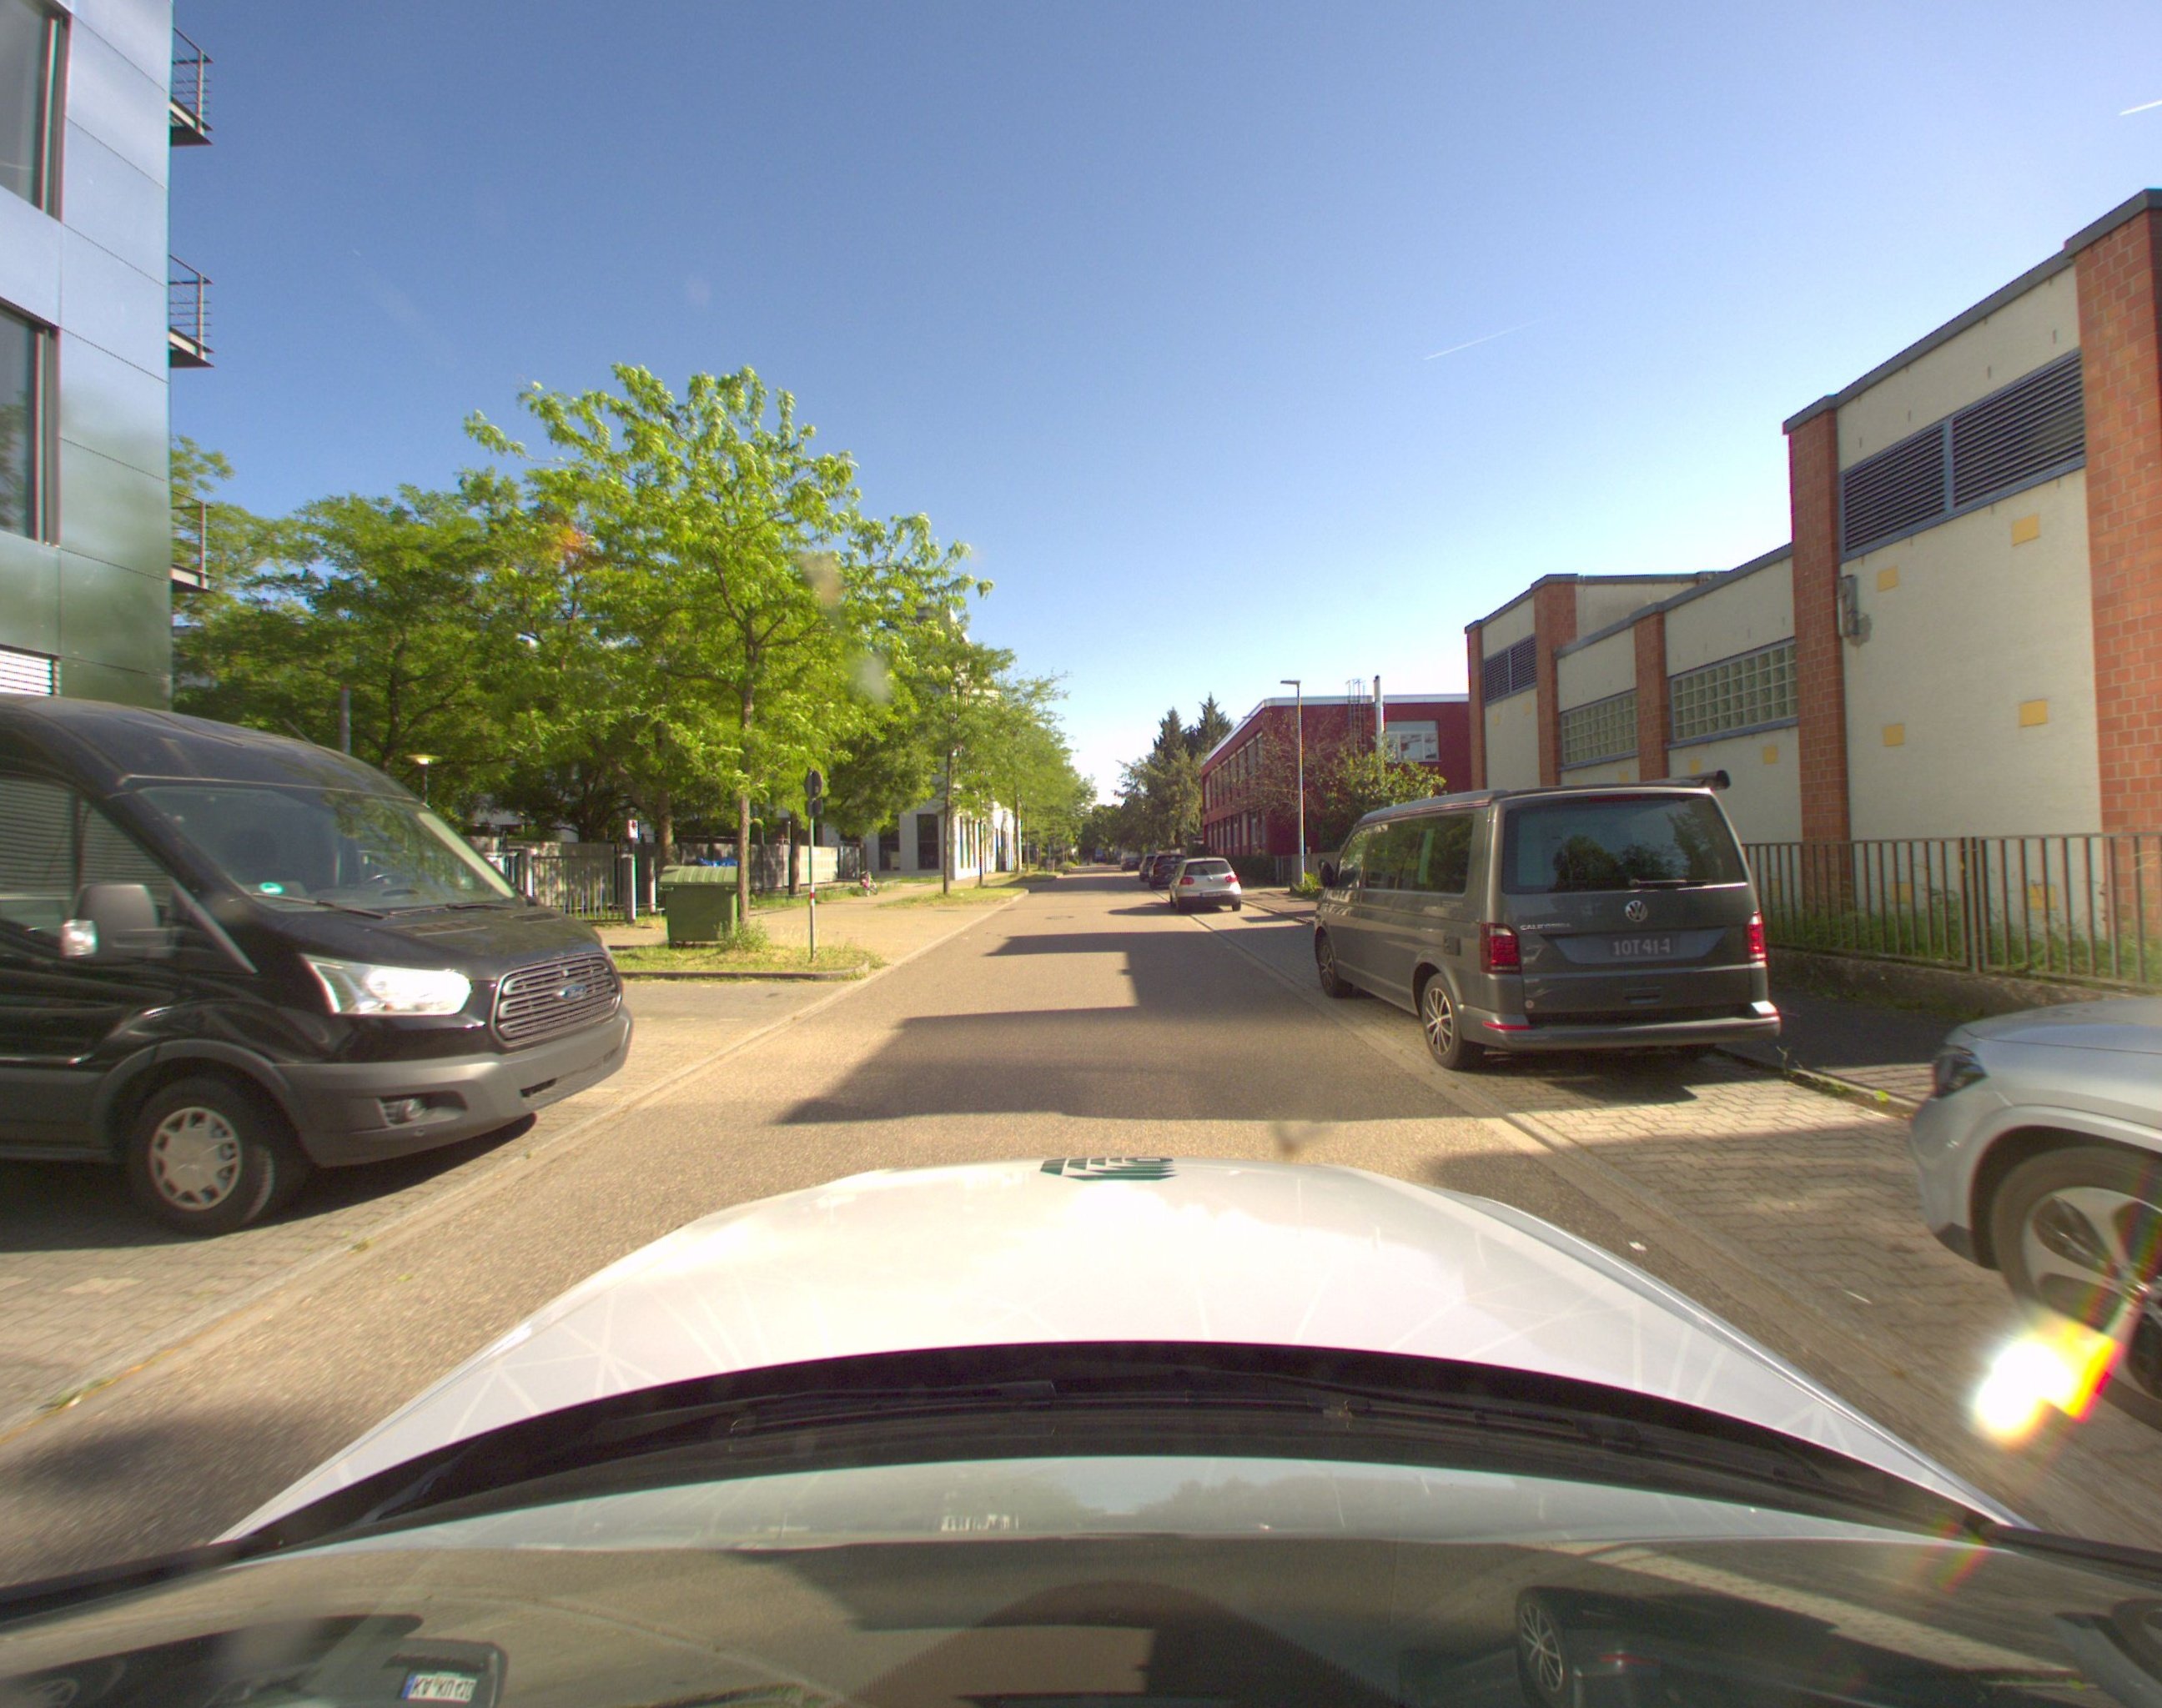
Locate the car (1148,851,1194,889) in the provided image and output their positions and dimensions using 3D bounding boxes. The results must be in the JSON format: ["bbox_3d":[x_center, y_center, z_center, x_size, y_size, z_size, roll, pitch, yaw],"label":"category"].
[{"bbox_3d":[4.130,0.713,37.853,1.831,1.634,4.203,-1,0,2],"label":"car"}]

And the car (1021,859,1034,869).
[{"bbox_3d":[-8.104,1.508,123.743,1.900,1.342,3.791,-1,0,-1],"label":"car"}]

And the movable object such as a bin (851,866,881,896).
[{"bbox_3d":[-8.820,1.096,33.474,0.660,1.181,1.936,-1,0,2],"label":"movable object such as a bin"}]

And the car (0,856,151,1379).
[{"bbox_3d":[-5.306,0.810,1.971,3.819,1.645,1.891,0,-1,-1],"label":"car"}]

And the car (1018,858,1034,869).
[{"bbox_3d":[-7.568,1.280,111.940,1.988,1.458,3.790,-2,0,-1],"label":"car"}]

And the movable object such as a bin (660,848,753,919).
[{"bbox_3d":[-9.181,0.727,20.046,1.407,1.597,1.524,3,-3,5],"label":"movable object such as a bin"}]

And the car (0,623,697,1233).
[{"bbox_3d":[-5.466,0.345,4.656,5.436,2.623,2.231,-1,-1,0],"label":"car"}]

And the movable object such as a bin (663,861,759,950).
[{"bbox_3d":[-6.277,0.837,13.916,1.296,1.414,1.221,-1,-1,-17],"label":"movable object such as a bin"}]

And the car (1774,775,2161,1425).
[{"bbox_3d":[3.560,0.559,0.956,1.819,1.629,4.294,-3,-1,1],"label":"car"}]

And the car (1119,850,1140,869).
[{"bbox_3d":[5.214,0.561,87.495,1.986,1.834,4.002,-4,0,2],"label":"car"}]

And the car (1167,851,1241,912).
[{"bbox_3d":[3.443,0.725,23.364,1.653,1.561,3.936,-1,0,2],"label":"car"}]

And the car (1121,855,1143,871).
[{"bbox_3d":[5.076,0.894,81.670,1.986,1.442,4.002,-4,0,2],"label":"car"}]

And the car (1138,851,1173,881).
[{"bbox_3d":[4.439,0.697,48.921,1.848,1.648,4.002,-2,0,2],"label":"car"}]

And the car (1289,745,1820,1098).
[{"bbox_3d":[3.441,0.435,7.285,1.936,2.022,4.826,-3,-1,1],"label":"car"}]
